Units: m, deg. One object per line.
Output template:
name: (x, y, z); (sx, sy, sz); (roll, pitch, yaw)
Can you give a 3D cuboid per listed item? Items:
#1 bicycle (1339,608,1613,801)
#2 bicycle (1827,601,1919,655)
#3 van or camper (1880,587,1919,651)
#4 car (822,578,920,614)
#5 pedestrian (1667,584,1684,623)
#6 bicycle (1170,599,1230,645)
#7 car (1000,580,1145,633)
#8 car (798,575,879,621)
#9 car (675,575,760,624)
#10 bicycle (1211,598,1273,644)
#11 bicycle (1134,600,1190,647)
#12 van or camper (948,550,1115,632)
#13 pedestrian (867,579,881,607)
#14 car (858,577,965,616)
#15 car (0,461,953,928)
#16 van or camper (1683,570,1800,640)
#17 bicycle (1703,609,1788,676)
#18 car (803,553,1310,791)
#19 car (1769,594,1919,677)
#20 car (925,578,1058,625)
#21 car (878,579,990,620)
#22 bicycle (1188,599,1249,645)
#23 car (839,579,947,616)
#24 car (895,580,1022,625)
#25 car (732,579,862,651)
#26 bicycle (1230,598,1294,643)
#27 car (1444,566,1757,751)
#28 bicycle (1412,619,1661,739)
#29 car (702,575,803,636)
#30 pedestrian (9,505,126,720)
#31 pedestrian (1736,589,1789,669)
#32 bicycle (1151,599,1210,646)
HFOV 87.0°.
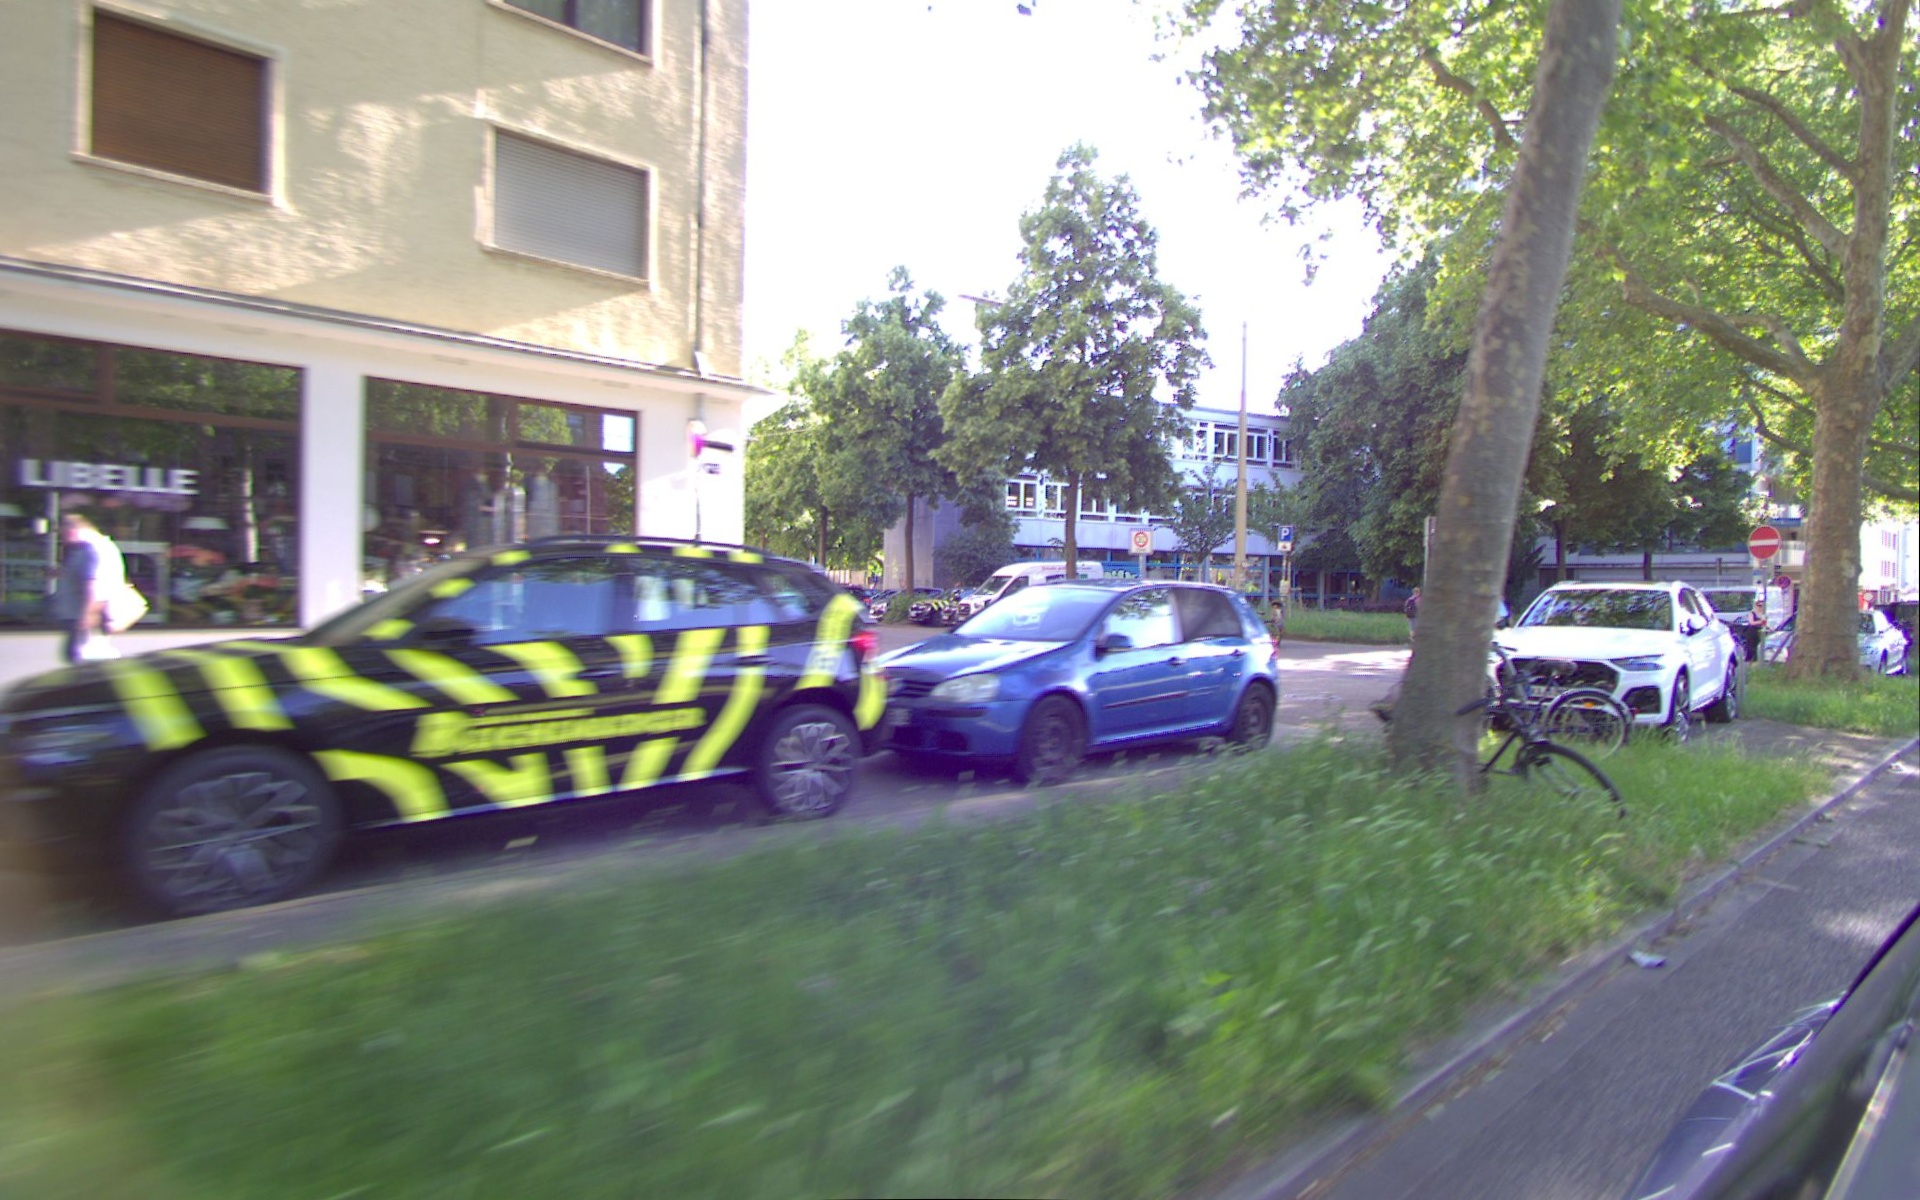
bicycle: (3.279, 0.607, 6.582); (0.396, 1.072, 1.599); (0, 0, -33)
bicycle: (20.669, 0.614, 22.485); (0.665, 1.138, 2.073); (0, 1, -41)
van or camper: (25.426, 0.480, 26.492); (1.494, 1.608, 2.807); (1, 0, 32)
car: (-4.336, -0.199, 49.203); (4.299, 1.648, 2.003); (0, 1, -26)
pedestrian: (32.199, 0.144, 45.537); (0.577, 1.717, 0.619); (1, 0, 32)
bicycle: (6.158, 0.547, 26.110); (0.497, 1.117, 2.150); (0, 1, -16)
car: (3.676, 0.188, 32.976); (4.299, 1.648, 2.003); (0, 1, -26)
car: (-5.013, -0.094, 41.139); (1.958, 1.648, 4.398); (4, -1, -24)
car: (-8.309, -0.027, 34.393); (1.958, 1.556, 4.403); (0, 0, -25)
bicycle: (7.357, 0.531, 26.503); (0.497, 1.117, 2.150); (0, 1, -16)
bicycle: (5.132, 0.566, 25.822); (0.463, 1.117, 2.150); (0, 1, -16)
van or camper: (2.515, -0.298, 35.377); (5.472, 2.669, 2.158); (0, 0, -25)
pedestrian: (-4.986, -0.421, 58.812); (0.622, 1.620, 0.675); (0, 0, -26)
car: (-2.130, -0.155, 44.615); (4.299, 1.648, 2.003); (0, 1, -26)
car: (-2.180, 0.333, 5.352); (4.186, 1.549, 1.698); (1, 0, -41)
van or camper: (28.183, 0.137, 36.417); (5.722, 2.315, 2.294); (0, 0, -42)
bicycle: (12.115, 0.621, 15.581); (2.127, 0.937, 0.640); (0, 0, -41)
car: (0.972, 0.463, 8.296); (4.186, 1.470, 1.717); (1, 0, -41)
car: (17.496, 0.608, 19.821); (4.938, 1.416, 1.756); (0, 0, -41)
car: (1.202, 0.055, 38.419); (4.647, 1.690, 2.003); (0, 1, -26)
car: (-1.107, -0.024, 42.835); (4.299, 1.648, 2.003); (0, 1, -26)
bicycle: (6.690, 0.536, 26.272); (0.497, 1.117, 2.150); (0, 1, -16)
car: (-3.112, -0.134, 46.858); (4.558, 1.648, 2.003); (0, 1, -26)
car: (-0.066, 0.076, 40.301); (4.647, 1.690, 2.003); (0, 1, -26)
car: (-4.119, 0.308, 24.962); (1.959, 1.601, 4.609); (0, 0, -25)
bicycle: (7.937, 0.520, 26.730); (0.497, 1.117, 2.201); (0, 1, -16)
car: (7.357, 0.508, 11.398); (4.744, 1.656, 1.904); (0, 1, -44)
bicycle: (4.919, 0.653, 8.736); (1.734, 0.939, 0.652); (1, 0, 9)
car: (-6.170, 0.131, 29.675); (1.958, 1.665, 4.403); (0, 0, -25)
pedestrian: (-7.627, 0.090, 8.678); (0.711, 1.726, 0.797); (0, 0, -40)
pedestrian: (16.690, 0.604, 21.056); (0.700, 1.632, 0.688); (1, -3, -41)
bicycle: (5.628, 0.551, 25.958); (0.497, 1.117, 2.150); (0, 1, -16)
